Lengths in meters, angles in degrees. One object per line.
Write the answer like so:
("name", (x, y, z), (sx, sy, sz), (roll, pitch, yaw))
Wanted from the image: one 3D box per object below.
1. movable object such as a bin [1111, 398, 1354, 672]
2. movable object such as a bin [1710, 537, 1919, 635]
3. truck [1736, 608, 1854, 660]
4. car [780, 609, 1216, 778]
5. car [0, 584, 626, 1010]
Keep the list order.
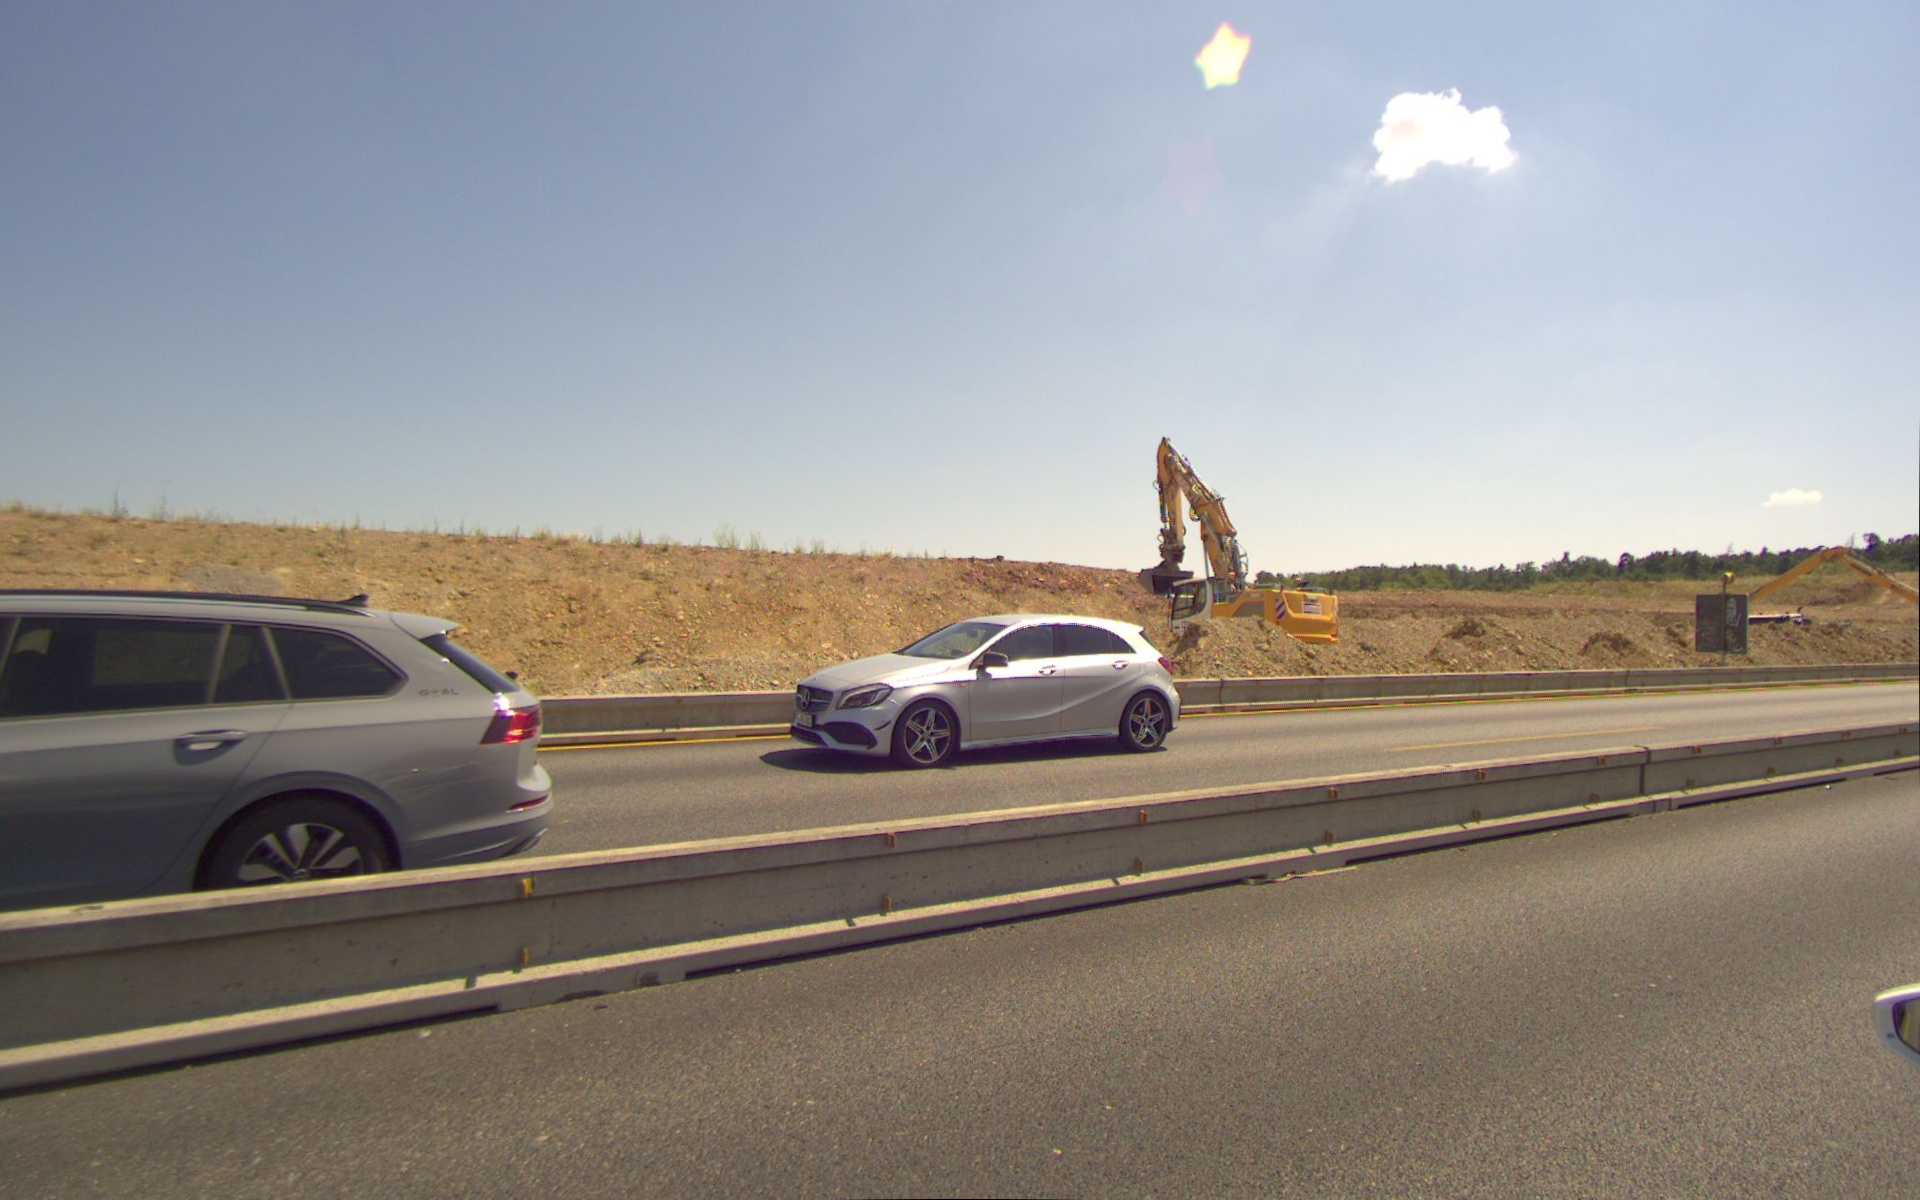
("movable object such as a bin", (8.600, -1.793, 32.812), (3.402, 7.816, 7.607), (1, -1, -28))
("movable object such as a bin", (71.113, -0.990, 79.723), (3.575, 7.327, 18.616), (1, -1, -31))
("truck", (45.655, 1.830, 54.831), (8.312, 2.652, 2.305), (1, -1, -30))
("car", (0.484, 0.866, 10.637), (4.396, 1.453, 1.683), (1, 0, -30))
("car", (-3.908, 0.686, 4.247), (4.471, 1.496, 1.778), (1, 0, -30))
